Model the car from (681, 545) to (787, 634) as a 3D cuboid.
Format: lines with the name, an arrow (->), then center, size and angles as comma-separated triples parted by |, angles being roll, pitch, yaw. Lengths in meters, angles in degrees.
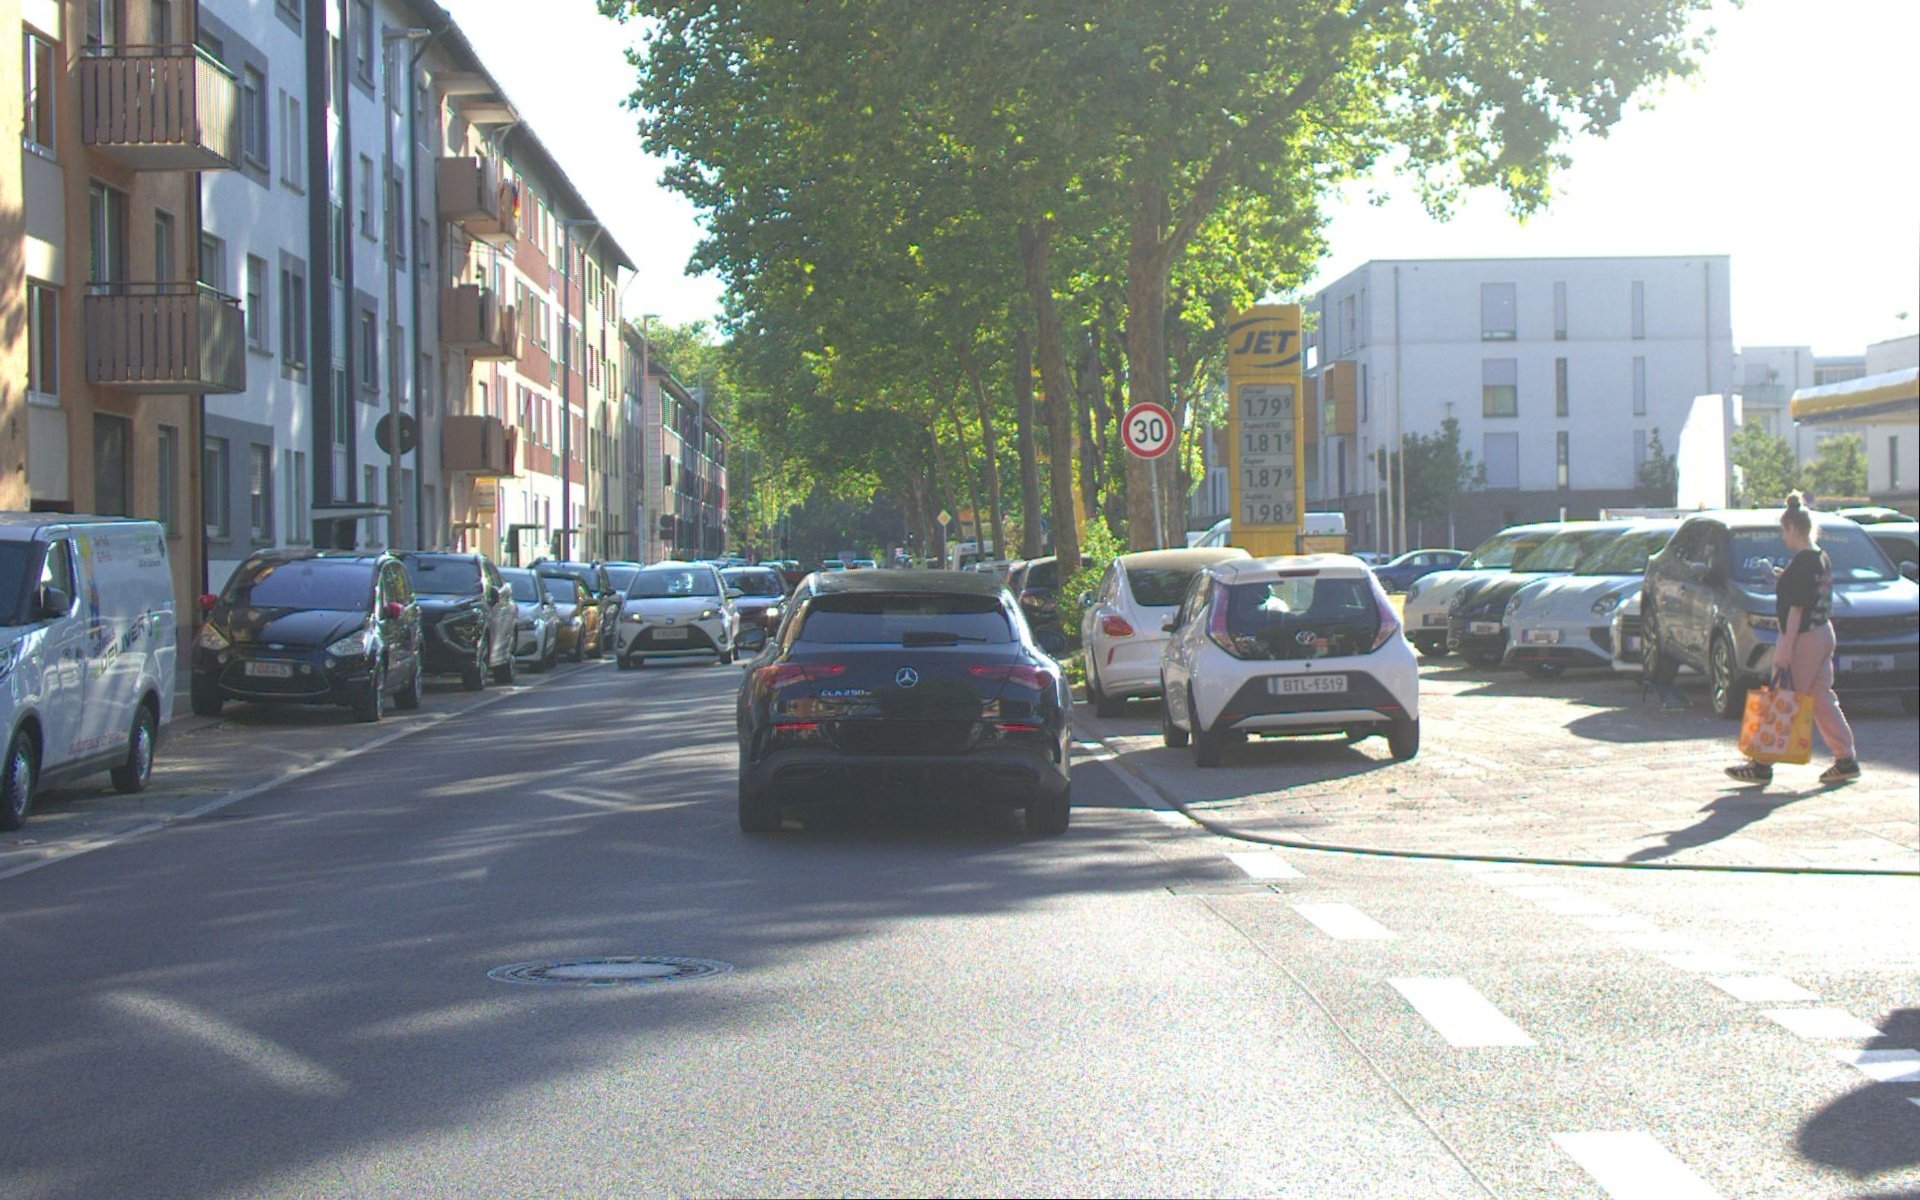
car -> -4.098, -0.218, 62.852 | 1.663, 1.518, 4.412 | -2, 1, -1

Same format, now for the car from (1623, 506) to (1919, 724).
car -> 6.864, 0.078, 28.735 | 1.752, 1.664, 4.158 | -1, 1, -1

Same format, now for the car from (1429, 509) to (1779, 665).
car -> 7.254, -0.169, 38.608 | 3.808, 1.573, 1.741 | -3, 2, -38

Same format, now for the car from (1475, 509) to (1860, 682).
car -> 7.334, -0.072, 35.515 | 3.808, 1.604, 1.741 | -3, 2, -36

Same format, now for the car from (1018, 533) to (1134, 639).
car -> 1.795, -0.219, 54.243 | 1.559, 1.590, 3.601 | 1, 0, -2

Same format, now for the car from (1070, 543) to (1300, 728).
car -> 2.074, 0.305, 32.891 | 1.810, 1.533, 4.583 | -3, 0, 0

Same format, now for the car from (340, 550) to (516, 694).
car -> -6.441, 0.226, 42.009 | 1.596, 1.635, 4.413 | 1, 1, -2

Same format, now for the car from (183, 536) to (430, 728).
car -> -6.500, 0.262, 34.622 | 1.745, 1.781, 4.550 | 1, 1, -2

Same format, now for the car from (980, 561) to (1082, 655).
car -> 1.218, 0.127, 60.313 | 1.559, 1.590, 3.601 | 1, 0, -2

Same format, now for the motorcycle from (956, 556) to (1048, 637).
motorcycle -> 0.811, -0.068, 66.355 | 1.641, 1.552, 0.612 | 1, 0, -22

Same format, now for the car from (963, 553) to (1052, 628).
car -> 0.998, -0.208, 73.587 | 1.722, 1.552, 3.601 | 1, 0, -2

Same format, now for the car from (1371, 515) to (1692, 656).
car -> 7.063, -0.200, 42.350 | 3.808, 1.573, 1.746 | -3, 2, -38

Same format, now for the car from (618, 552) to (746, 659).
car -> -4.096, 0.048, 51.142 | 1.639, 1.518, 3.934 | 0, 1, -1

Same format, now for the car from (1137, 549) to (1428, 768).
car -> 2.360, 0.404, 26.060 | 1.635, 1.463, 4.021 | -2, 0, -2

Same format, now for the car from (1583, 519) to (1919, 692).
car -> 7.952, 0.016, 32.902 | 3.807, 1.540, 1.662 | -2, 1, -34

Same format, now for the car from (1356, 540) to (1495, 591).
car -> 14.427, -1.057, 106.664 | 3.986, 1.524, 1.807 | 0, -1, -2

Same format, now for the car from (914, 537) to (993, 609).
car -> -0.206, -0.750, 98.791 | 1.993, 2.007, 4.000 | 0, -1, -4

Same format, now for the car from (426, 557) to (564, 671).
car -> -6.588, 0.167, 49.023 | 1.547, 1.518, 4.005 | 1, 1, -2

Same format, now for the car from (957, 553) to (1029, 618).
car -> 0.801, -0.363, 85.645 | 1.633, 1.552, 3.601 | 1, 0, -2

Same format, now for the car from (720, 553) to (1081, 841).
car -> -0.241, 0.469, 19.612 | 1.744, 1.438, 3.968 | 1, 1, 3

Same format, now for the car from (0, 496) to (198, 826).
car -> -6.397, 0.311, 22.344 | 1.734, 1.900, 5.209 | 0, 1, 0

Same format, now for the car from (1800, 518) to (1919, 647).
car -> 12.393, -0.269, 42.847 | 3.808, 1.506, 1.643 | -3, 2, -36

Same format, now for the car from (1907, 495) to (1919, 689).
car -> 9.561, -0.057, 28.822 | 1.825, 1.726, 4.368 | -1, 1, -3

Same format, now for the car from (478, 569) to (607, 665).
car -> -6.628, 0.242, 54.880 | 1.596, 1.429, 4.217 | 1, 1, -1

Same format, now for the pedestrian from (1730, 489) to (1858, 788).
pedestrian -> 4.892, 0.219, 20.195 | 0.692, 1.717, 0.721 | -1, 1, 13
